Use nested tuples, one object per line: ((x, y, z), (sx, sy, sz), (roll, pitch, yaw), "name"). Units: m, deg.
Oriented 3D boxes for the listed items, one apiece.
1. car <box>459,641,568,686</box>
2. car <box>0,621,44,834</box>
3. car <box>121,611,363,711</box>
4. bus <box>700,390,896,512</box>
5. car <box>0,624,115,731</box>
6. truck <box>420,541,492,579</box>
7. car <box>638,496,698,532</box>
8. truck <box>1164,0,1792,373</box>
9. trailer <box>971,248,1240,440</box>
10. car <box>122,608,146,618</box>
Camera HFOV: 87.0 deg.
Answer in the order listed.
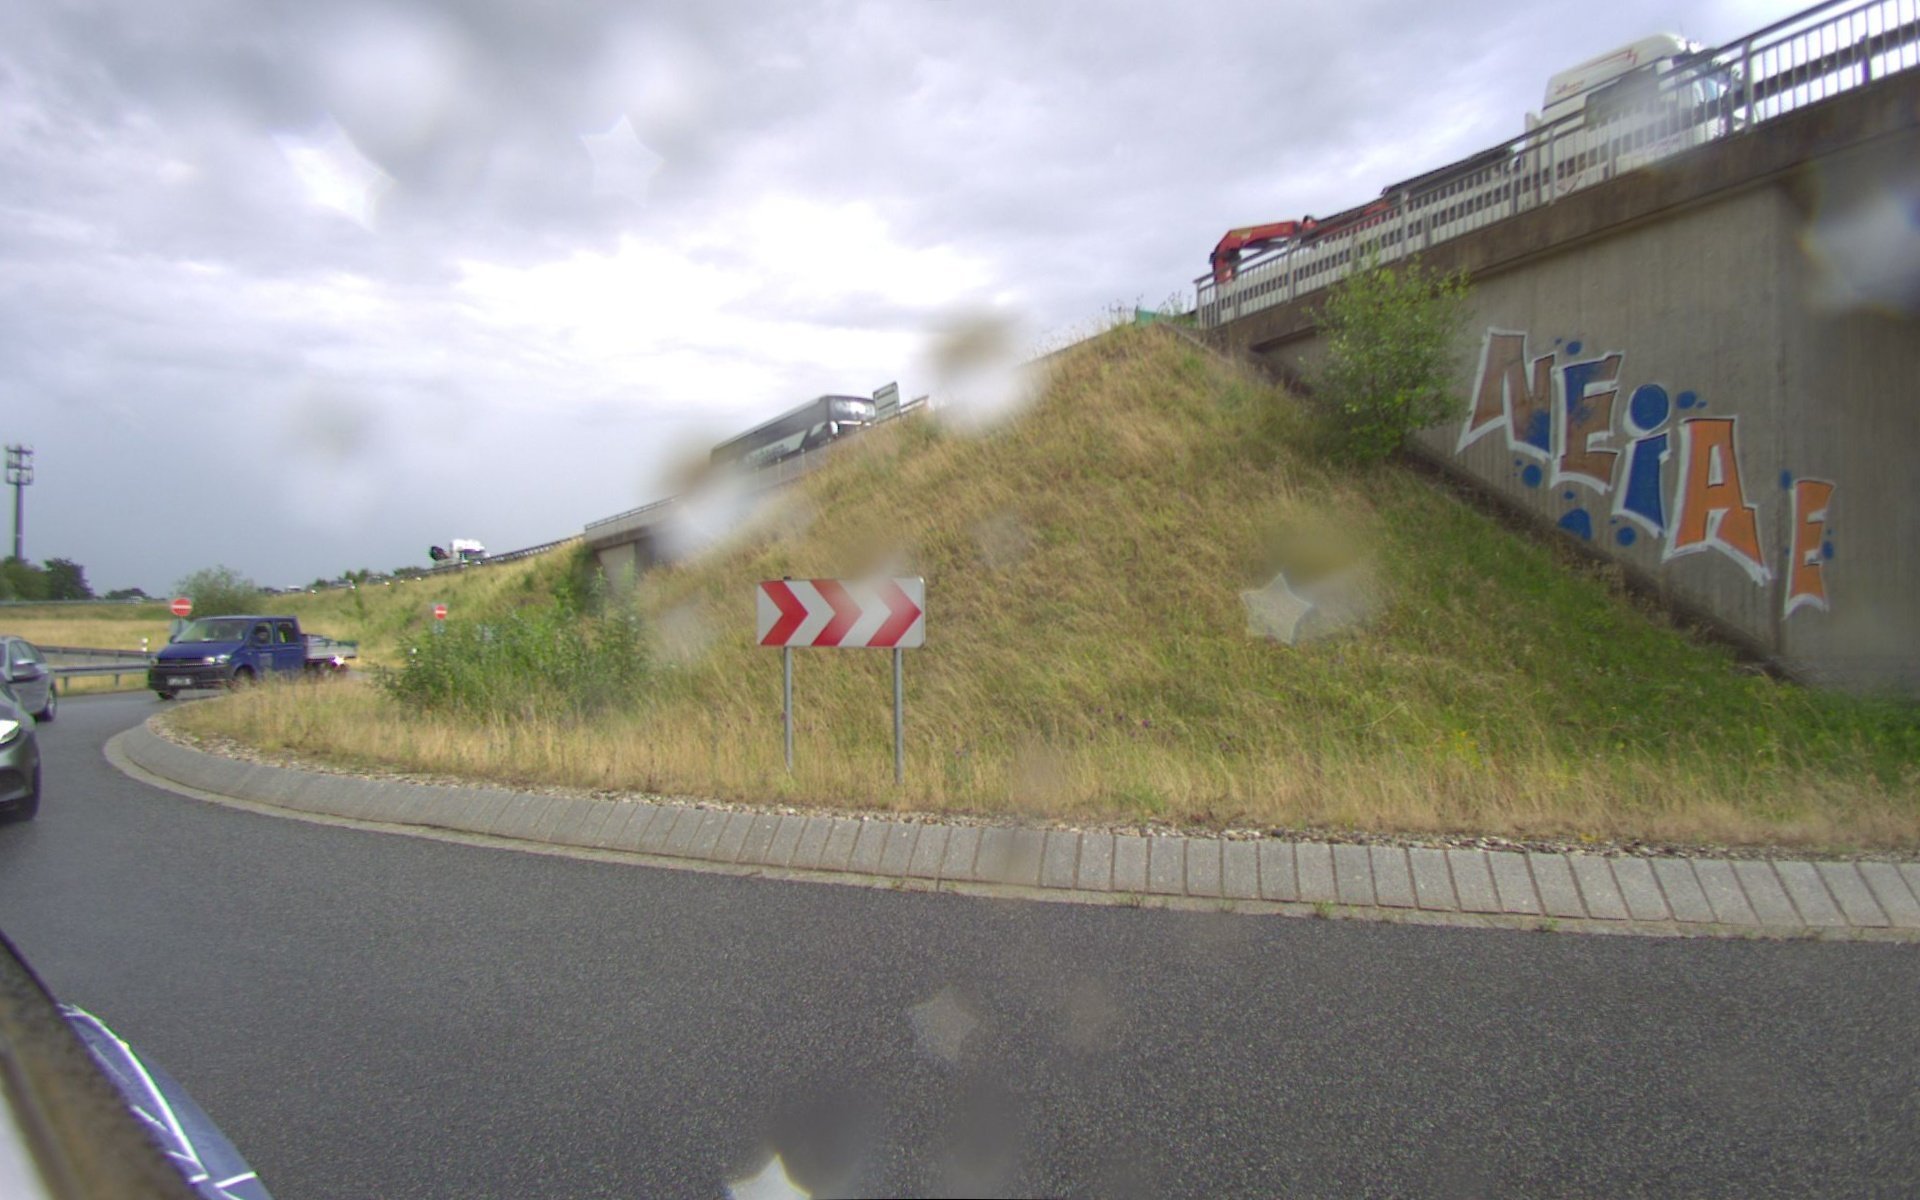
((-16.081, 2.251, 36.634), (1.557, 1.548, 3.911), (-1, -2, 14), "car")
((-8.487, 0.935, 7.657), (4.588, 1.402, 1.747), (-4, -4, 41), "car")
((-17.558, 1.385, 25.226), (1.867, 1.929, 5.681), (-2, 1, 1), "car")
((-7.617, -6.146, 44.454), (2.569, 3.103, 14.502), (-1, -1, -34), "bus")
((-15.522, 1.157, 16.335), (1.767, 1.409, 4.363), (5, -3, -26), "car")
((-50.238, -3.894, 100.679), (9.274, 3.218, 3.118), (-2, -1, 41), "truck")
((-17.210, -5.026, 59.510), (1.688, 1.536, 4.503), (-12, 6, -37), "car")
((8.378, -6.925, 18.852), (2.169, 2.895, 10.857), (-1, -1, -31), "truck")
((3.477, -6.428, 26.947), (2.150, 2.893, 8.355), (-1, -1, -32), "trailer")
((-140.916, 2.232, 172.663), (1.738, 1.655, 3.905), (-1, -1, -14), "car")
